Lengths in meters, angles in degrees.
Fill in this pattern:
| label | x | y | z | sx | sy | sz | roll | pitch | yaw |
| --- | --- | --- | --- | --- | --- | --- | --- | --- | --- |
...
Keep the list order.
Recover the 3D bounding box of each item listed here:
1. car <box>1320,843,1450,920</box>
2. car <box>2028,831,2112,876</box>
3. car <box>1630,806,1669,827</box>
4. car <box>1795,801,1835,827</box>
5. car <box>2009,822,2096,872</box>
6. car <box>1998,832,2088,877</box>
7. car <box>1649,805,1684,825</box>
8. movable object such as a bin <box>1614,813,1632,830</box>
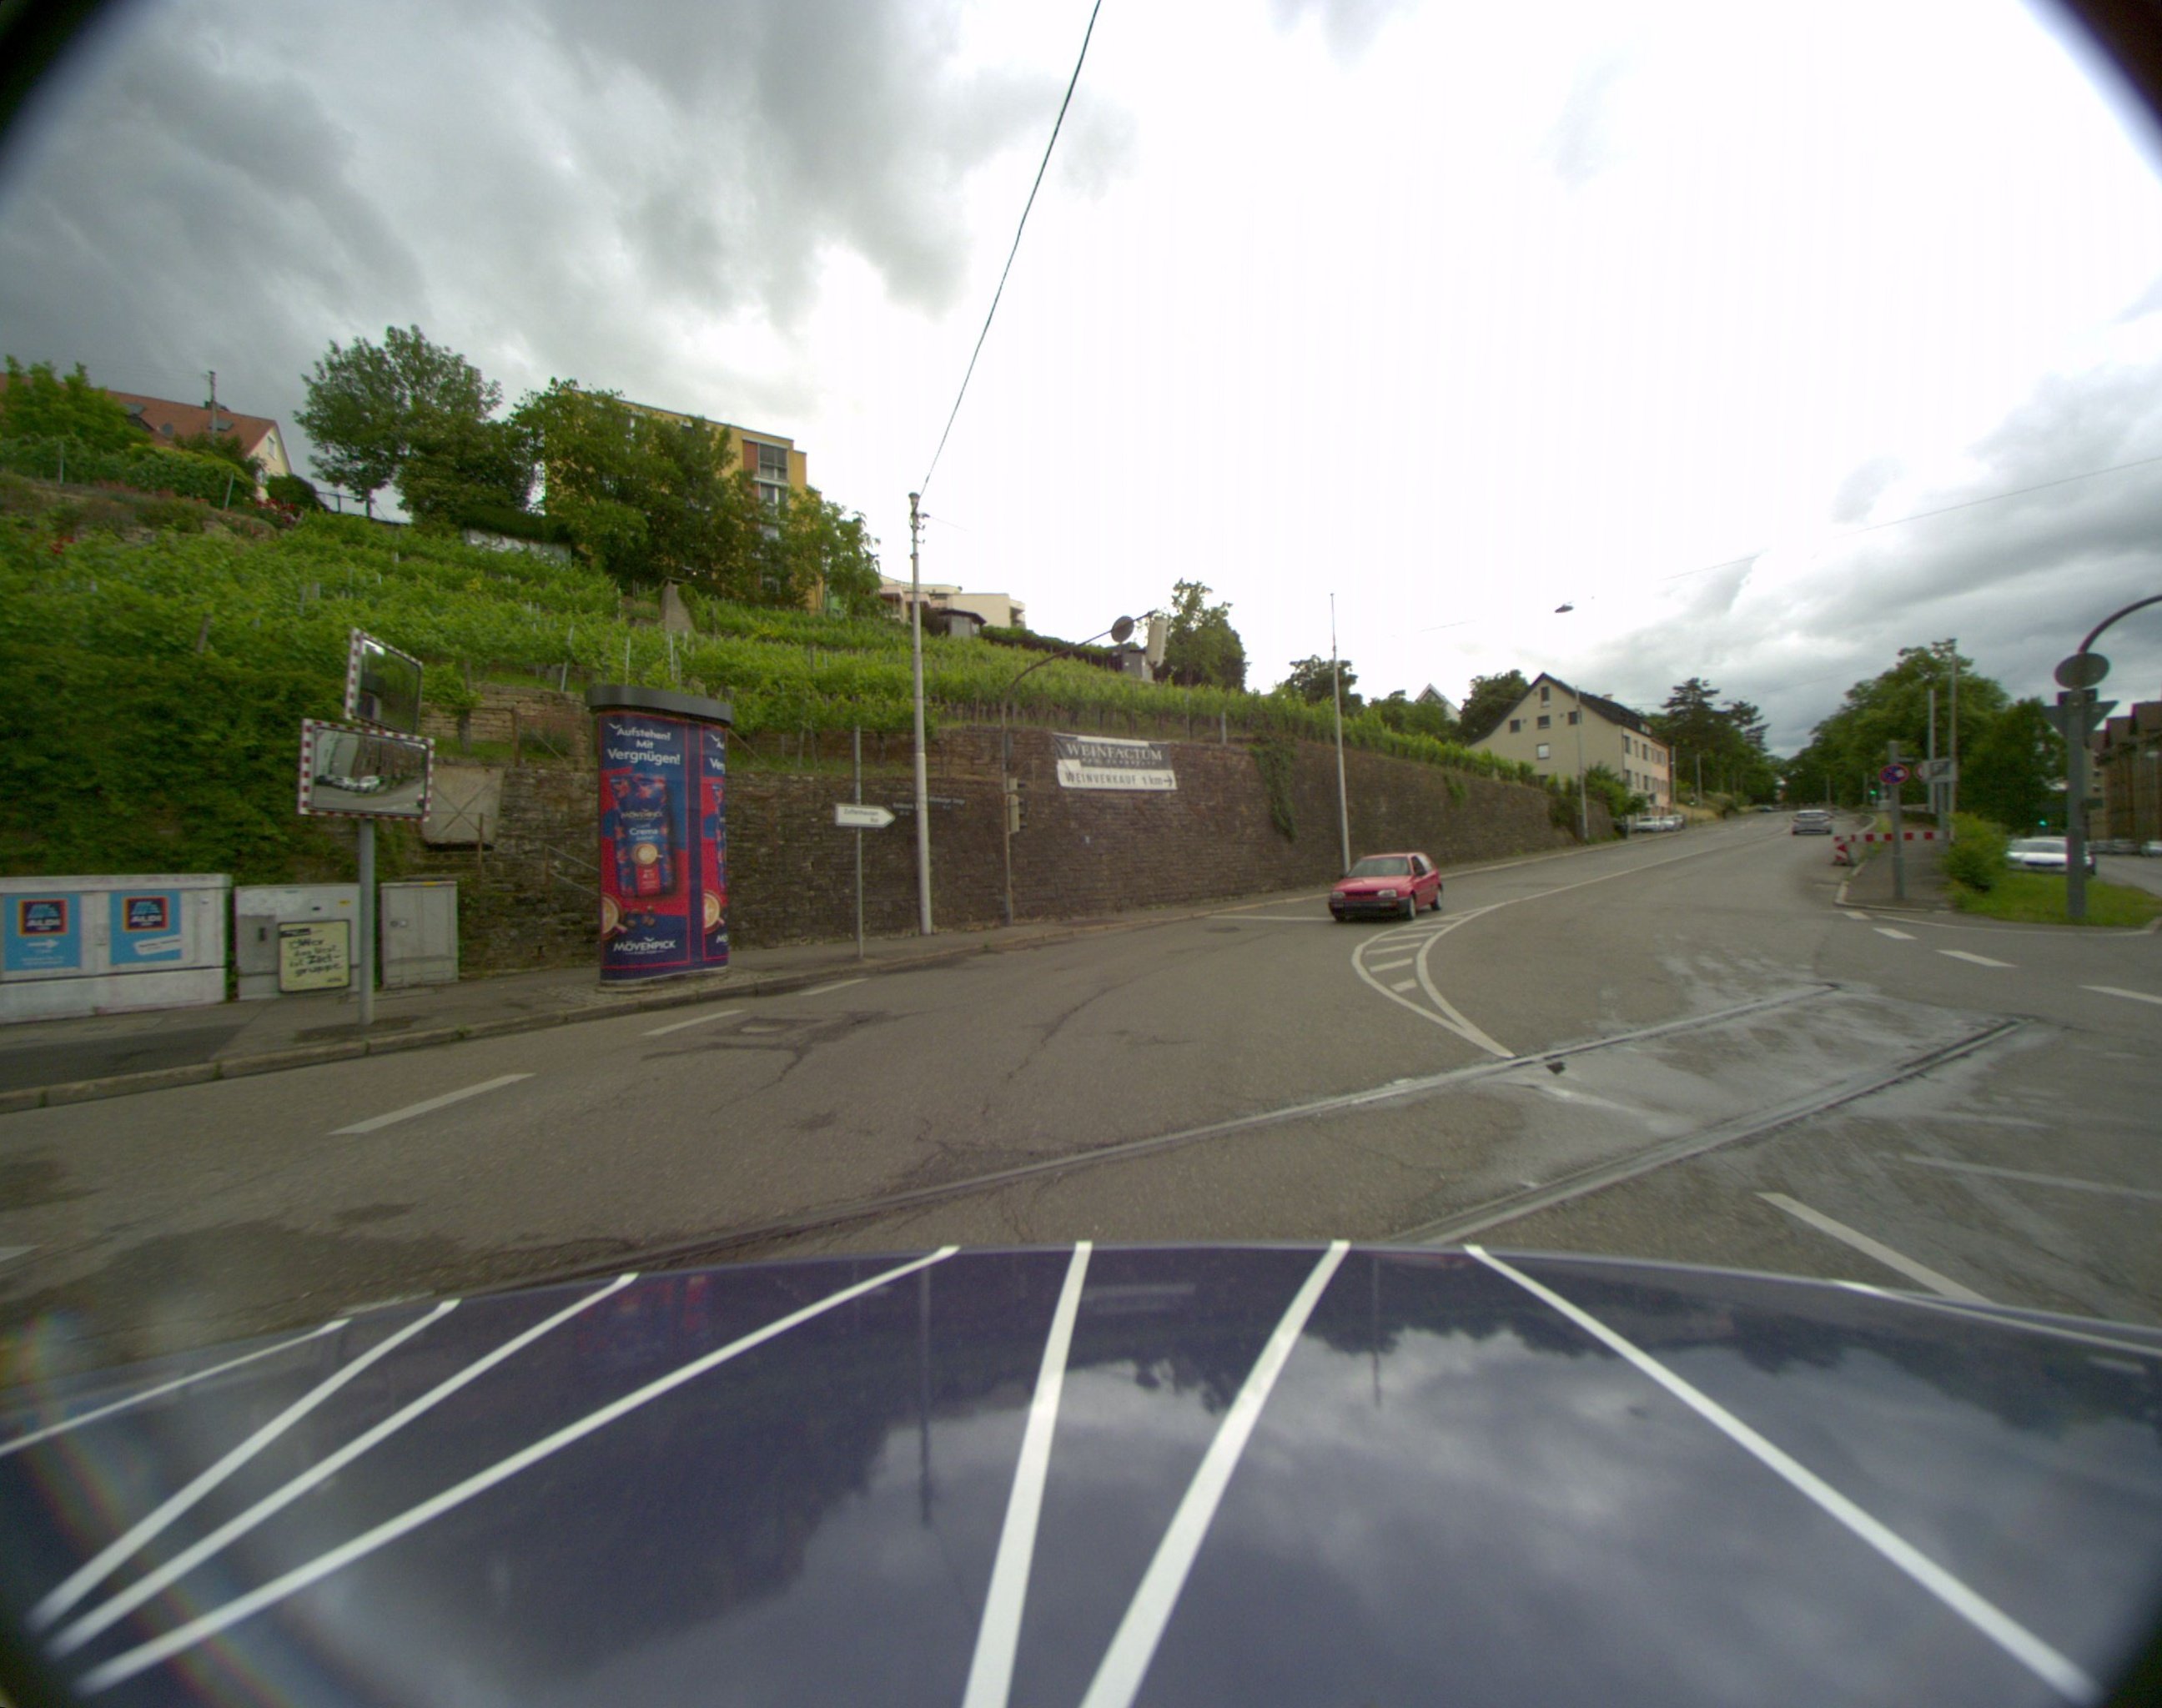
| label | x | y | z | sx | sy | sz | roll | pitch | yaw |
| --- | --- | --- | --- | --- | --- | --- | --- | --- | --- |
| car | 7.011 | 0.549 | 17.313 | 1.643 | 1.430 | 4.007 | -2 | 1 | 38 |
| car | 42.690 | -0.071 | 32.876 | 4.008 | 1.827 | 1.994 | -1 | 1 | -40 |
| car | 48.902 | -3.241 | 65.333 | 4.062 | 1.566 | 1.796 | -6 | 1 | -42 |
| car | 45.159 | -2.449 | 46.701 | 3.650 | 1.459 | 1.670 | -1 | 1 | -45 |
| car | 37.988 | -0.304 | 29.786 | 4.007 | 1.827 | 1.994 | -2 | 2 | -39 |
| car | 34.133 | -0.023 | 27.009 | 4.007 | 1.434 | 1.872 | -2 | 1 | -39 |
| car | 52.880 | -3.518 | 68.596 | 4.256 | 1.566 | 1.729 | -5 | 1 | -42 |
| movable object such as a bin | 37.867 | -2.281 | 53.111 | 0.876 | 1.120 | 0.809 | -5 | 2 | -43 |
